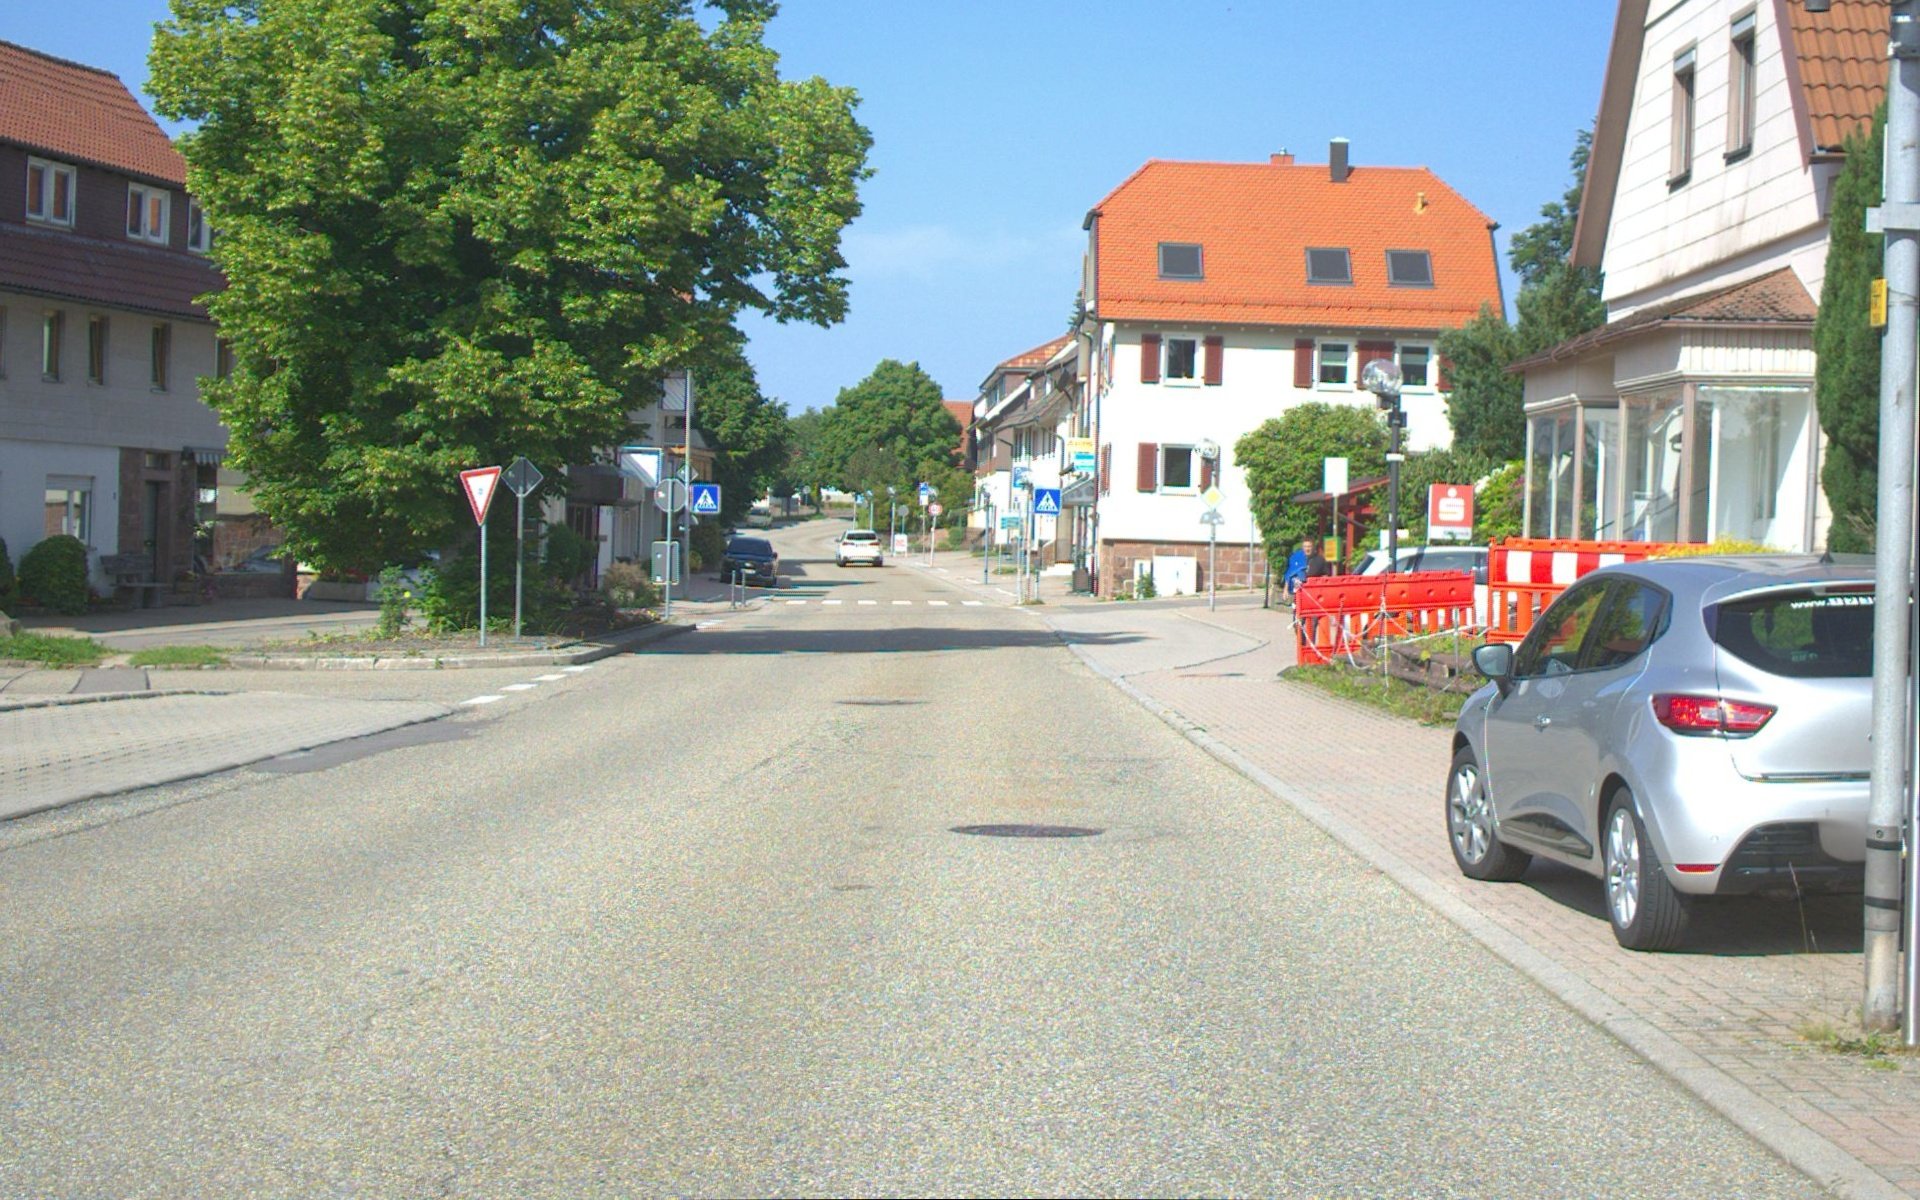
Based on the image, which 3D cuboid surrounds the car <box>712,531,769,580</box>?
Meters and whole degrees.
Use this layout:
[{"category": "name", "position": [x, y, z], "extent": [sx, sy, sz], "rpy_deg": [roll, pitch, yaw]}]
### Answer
[{"category": "car", "position": [-7.636, -1.563, 119.902], "extent": [1.672, 1.528, 3.536], "rpy_deg": [5, 1, -1]}]

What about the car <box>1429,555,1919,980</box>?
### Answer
[{"category": "car", "position": [3.099, 0.553, 13.901], "extent": [1.635, 1.415, 3.936], "rpy_deg": [-1, 1, -3]}]

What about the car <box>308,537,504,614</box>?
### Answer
[{"category": "car", "position": [-11.915, -0.517, 74.069], "extent": [3.761, 1.449, 1.816], "rpy_deg": [-1, -4, 12]}]

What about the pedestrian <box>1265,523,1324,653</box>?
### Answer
[{"category": "pedestrian", "position": [4.603, -0.176, 47.377], "extent": [0.799, 1.778, 0.979], "rpy_deg": [0, 1, 5]}]

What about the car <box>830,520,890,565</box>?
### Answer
[{"category": "car", "position": [-4.669, -2.674, 160.091], "extent": [2.495, 2.007, 4.305], "rpy_deg": [-1, 1, -5]}]

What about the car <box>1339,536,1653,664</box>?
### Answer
[{"category": "car", "position": [6.950, -0.025, 44.430], "extent": [3.864, 1.553, 1.962], "rpy_deg": [1, 1, 13]}]
